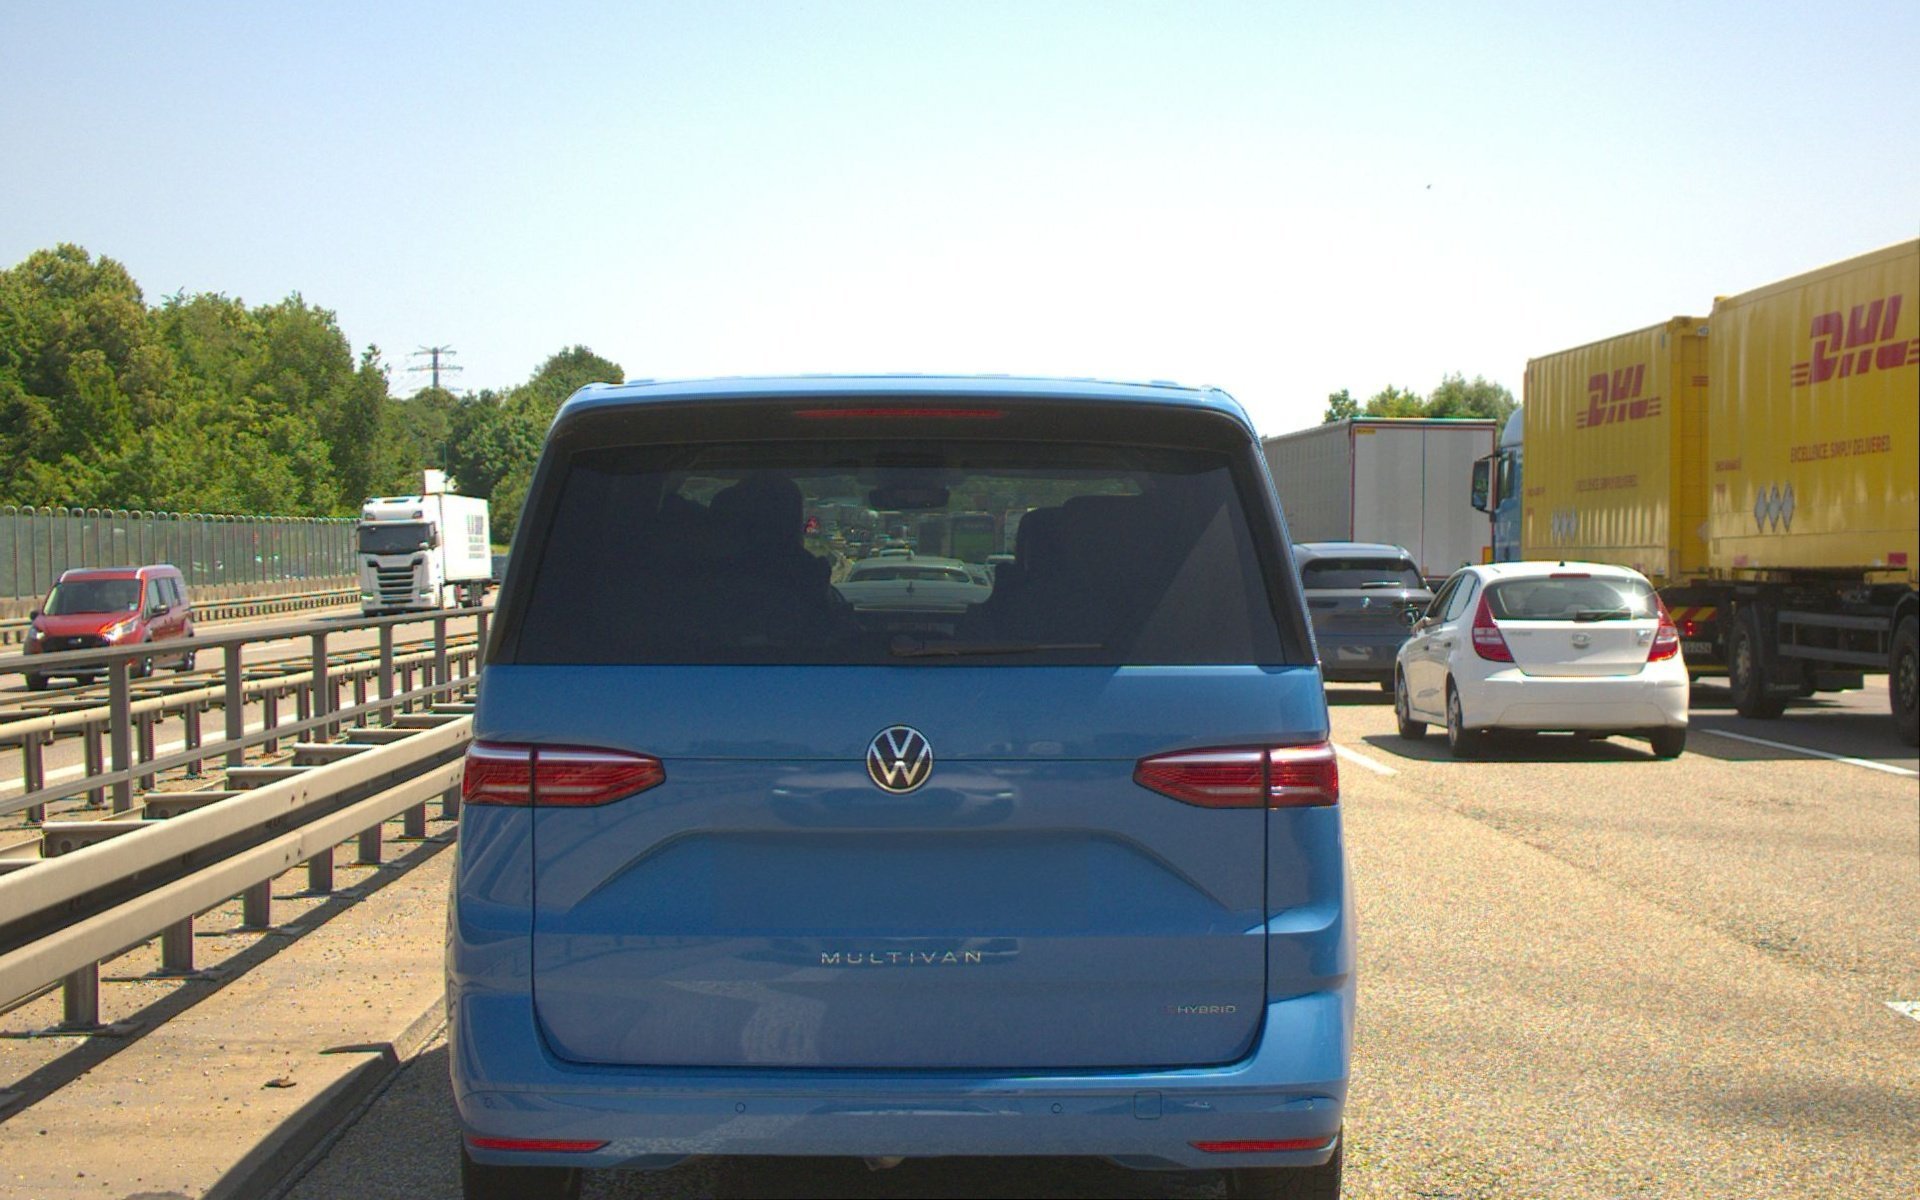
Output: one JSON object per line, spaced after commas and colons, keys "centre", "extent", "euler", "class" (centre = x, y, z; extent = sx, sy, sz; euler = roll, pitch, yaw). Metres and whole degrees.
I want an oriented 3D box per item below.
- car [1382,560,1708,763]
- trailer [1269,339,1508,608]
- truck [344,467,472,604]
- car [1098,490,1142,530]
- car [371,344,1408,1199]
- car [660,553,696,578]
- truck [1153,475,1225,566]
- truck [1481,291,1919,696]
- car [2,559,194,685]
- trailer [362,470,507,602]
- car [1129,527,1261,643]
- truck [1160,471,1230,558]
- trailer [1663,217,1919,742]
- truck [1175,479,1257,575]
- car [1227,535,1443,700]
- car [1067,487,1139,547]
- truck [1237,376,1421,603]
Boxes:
{"centre": [4.524, 0.441, 27.129], "extent": [1.815, 1.465, 3.932], "euler": [1, 0, -1], "class": "car"}
{"centre": [7.879, -2.211, 64.748], "extent": [3.026, 4.595, 10.925], "euler": [1, 0, 0], "class": "trailer"}
{"centre": [-18.396, -2.103, 114.988], "extent": [2.929, 4.279, 6.858], "euler": [-3, 0, 0], "class": "truck"}
{"centre": [7.291, -4.104, 156.967], "extent": [1.797, 1.745, 3.943], "euler": [1, 0, 0], "class": "car"}
{"centre": [-0.155, 0.456, 8.477], "extent": [1.930, 1.867, 4.000], "euler": [1, 0, -1], "class": "car"}
{"centre": [-17.003, -2.092, 207.136], "extent": [1.772, 1.486, 4.605], "euler": [-1, 1, 0], "class": "car"}
{"centre": [6.651, -2.298, 100.176], "extent": [1.742, 2.540, 4.210], "euler": [1, 0, 0], "class": "truck"}
{"centre": [8.300, -1.104, 39.840], "extent": [2.699, 4.074, 9.940], "euler": [1, 0, -2], "class": "truck"}
{"centre": [-13.208, 0.313, 52.937], "extent": [1.839, 1.816, 4.748], "euler": [-1, 0, -1], "class": "car"}
{"centre": [-18.424, -2.171, 121.539], "extent": [2.906, 4.292, 13.661], "euler": [-2, 0, 0], "class": "trailer"}
{"centre": [4.063, -0.264, 60.058], "extent": [1.962, 1.929, 3.932], "euler": [1, 0, -1], "class": "car"}
{"centre": [7.205, -2.603, 105.666], "extent": [1.797, 2.587, 4.305], "euler": [1, 0, 0], "class": "truck"}
{"centre": [8.649, -0.940, 30.417], "extent": [2.682, 4.074, 8.981], "euler": [1, 0, -2], "class": "trailer"}
{"centre": [6.785, -1.914, 91.477], "extent": [1.798, 2.441, 4.504], "euler": [1, 0, 0], "class": "truck"}
{"centre": [4.014, 0.169, 37.365], "extent": [1.815, 1.673, 3.932], "euler": [1, 0, -1], "class": "car"}
{"centre": [4.268, -2.487, 103.331], "extent": [1.919, 1.700, 4.000], "euler": [1, 0, -1], "class": "car"}
{"centre": [7.863, -2.275, 74.186], "extent": [3.026, 4.595, 7.921], "euler": [1, 0, 0], "class": "truck"}
